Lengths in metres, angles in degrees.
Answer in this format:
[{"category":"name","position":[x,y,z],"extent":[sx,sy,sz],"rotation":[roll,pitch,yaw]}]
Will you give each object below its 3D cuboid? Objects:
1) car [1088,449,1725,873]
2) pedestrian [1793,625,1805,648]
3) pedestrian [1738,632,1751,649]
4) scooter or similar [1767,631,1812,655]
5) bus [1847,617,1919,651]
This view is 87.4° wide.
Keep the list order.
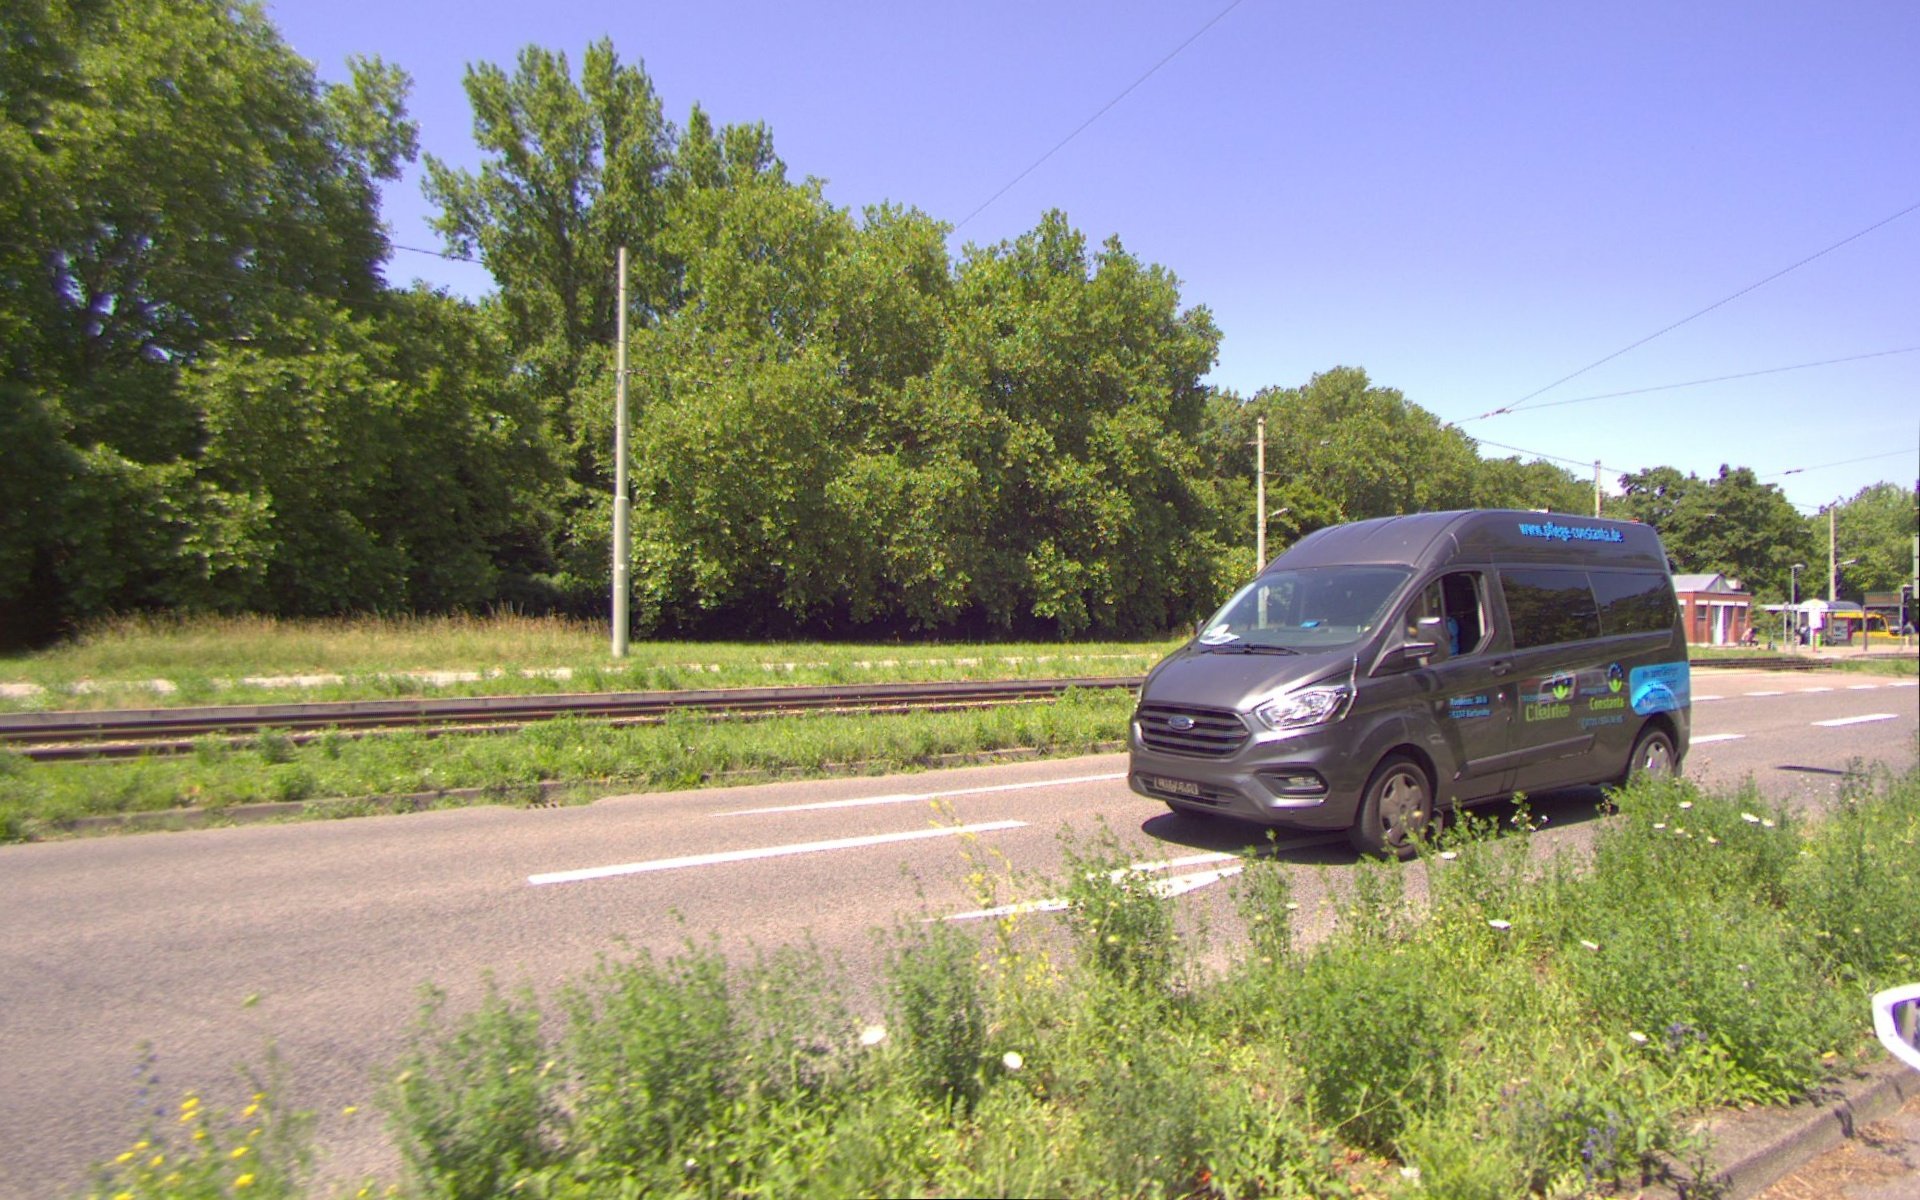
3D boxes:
[{"category":"car","position":[3.702,0.415,7.953],"extent":[5.313,2.397,1.983],"rotation":[1,-2,-32]},{"category":"pedestrian","position":[52.689,2.277,63.108],"extent":[0.520,1.455,0.458],"rotation":[1,-1,-35]},{"category":"pedestrian","position":[48.776,2.502,62.483],"extent":[0.516,1.032,0.479],"rotation":[1,-1,-31]},{"category":"scooter or similar","position":[41.553,2.152,50.326],"extent":[1.639,1.142,0.613],"rotation":[1,-1,12]},{"category":"bus","position":[104.631,3.766,113.260],"extent":[1.963,3.614,7.549],"rotation":[1,-1,-7]}]
